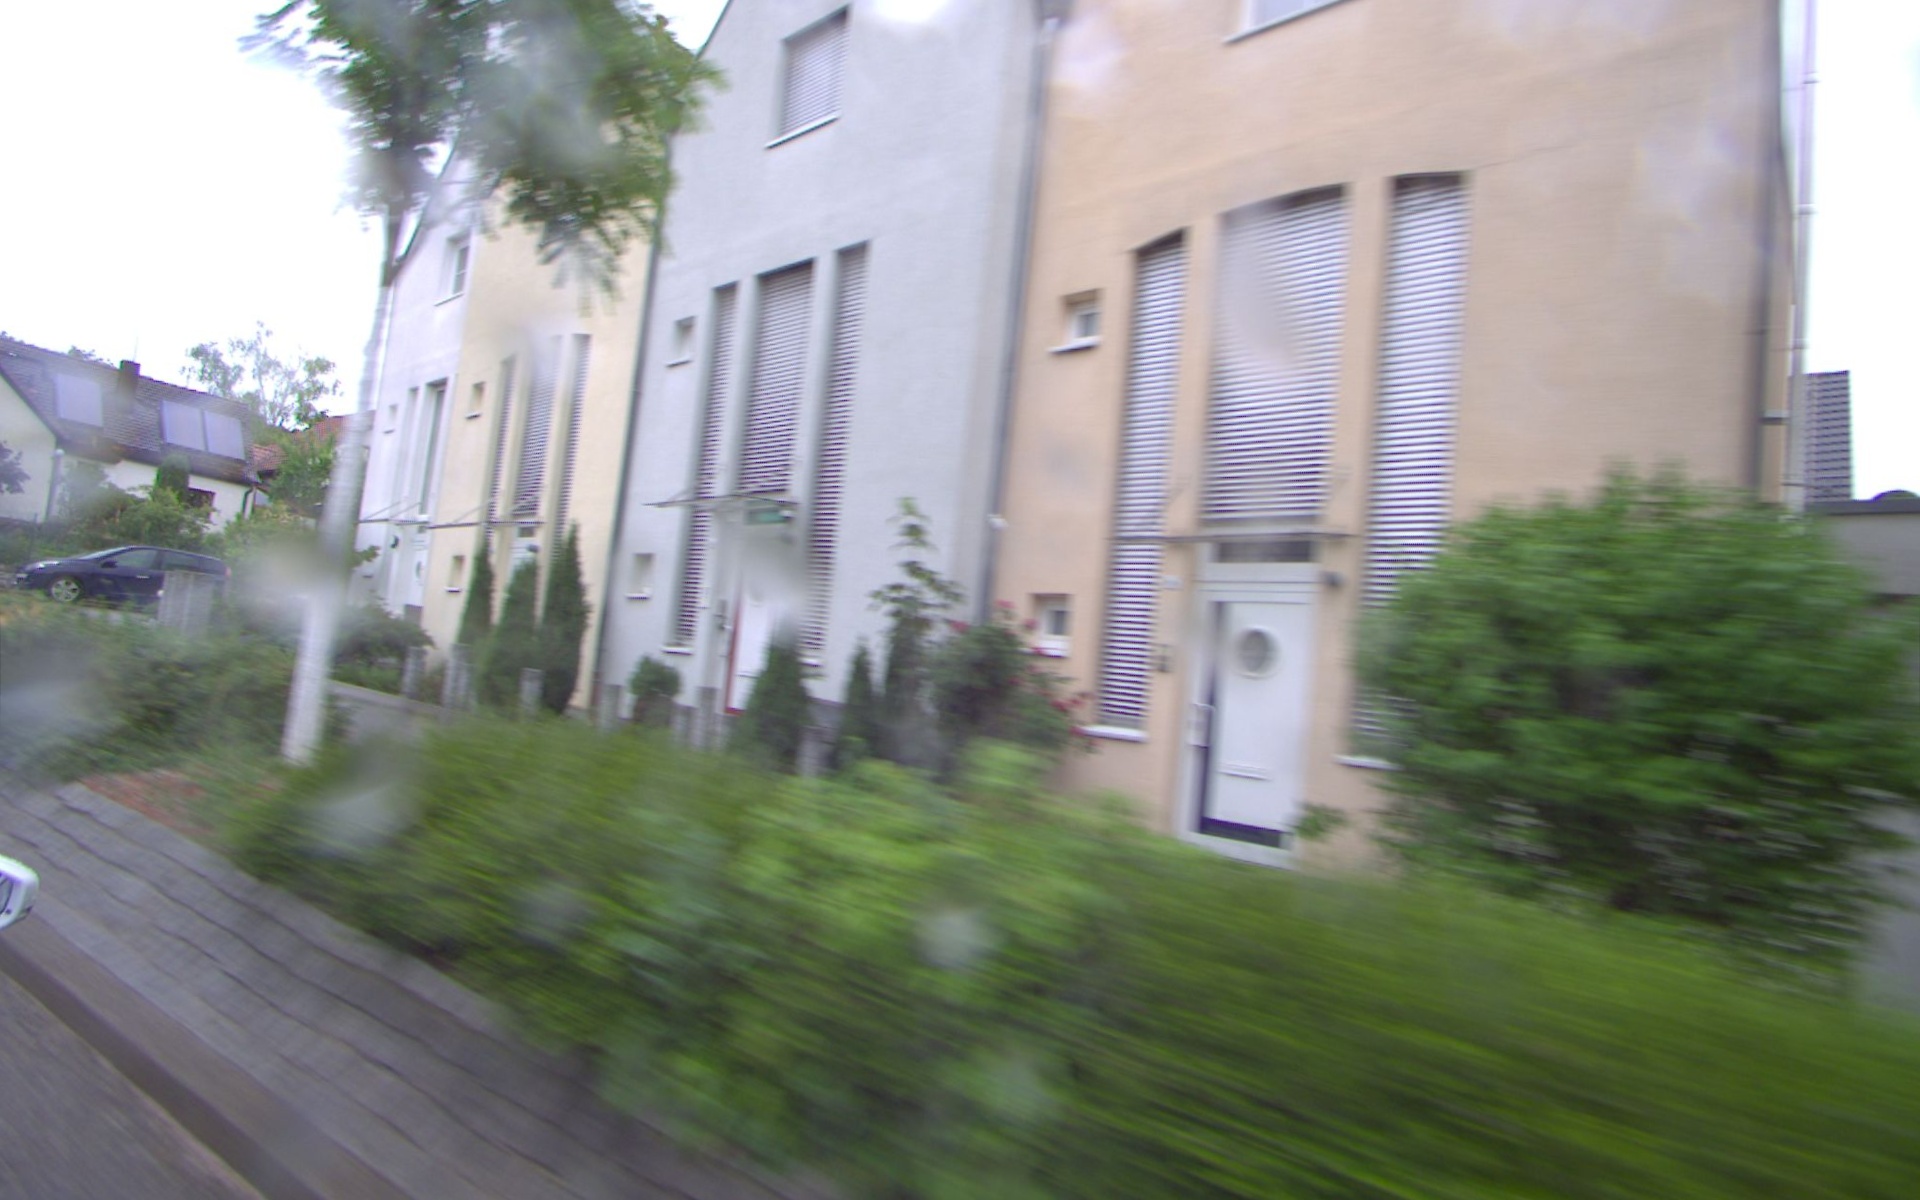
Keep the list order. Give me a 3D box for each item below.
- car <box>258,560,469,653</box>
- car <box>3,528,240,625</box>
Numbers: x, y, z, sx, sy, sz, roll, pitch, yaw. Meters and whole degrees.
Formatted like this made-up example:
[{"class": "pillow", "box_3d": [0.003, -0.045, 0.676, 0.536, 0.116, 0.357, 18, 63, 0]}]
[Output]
[{"class": "car", "box_3d": [-16.775, 0.230, 28.490, 1.781, 1.822, 4.683, 4, -7, 43]}, {"class": "car", "box_3d": [-20.453, -0.520, 24.671, 1.840, 1.601, 4.130, 4, -7, 43]}]
